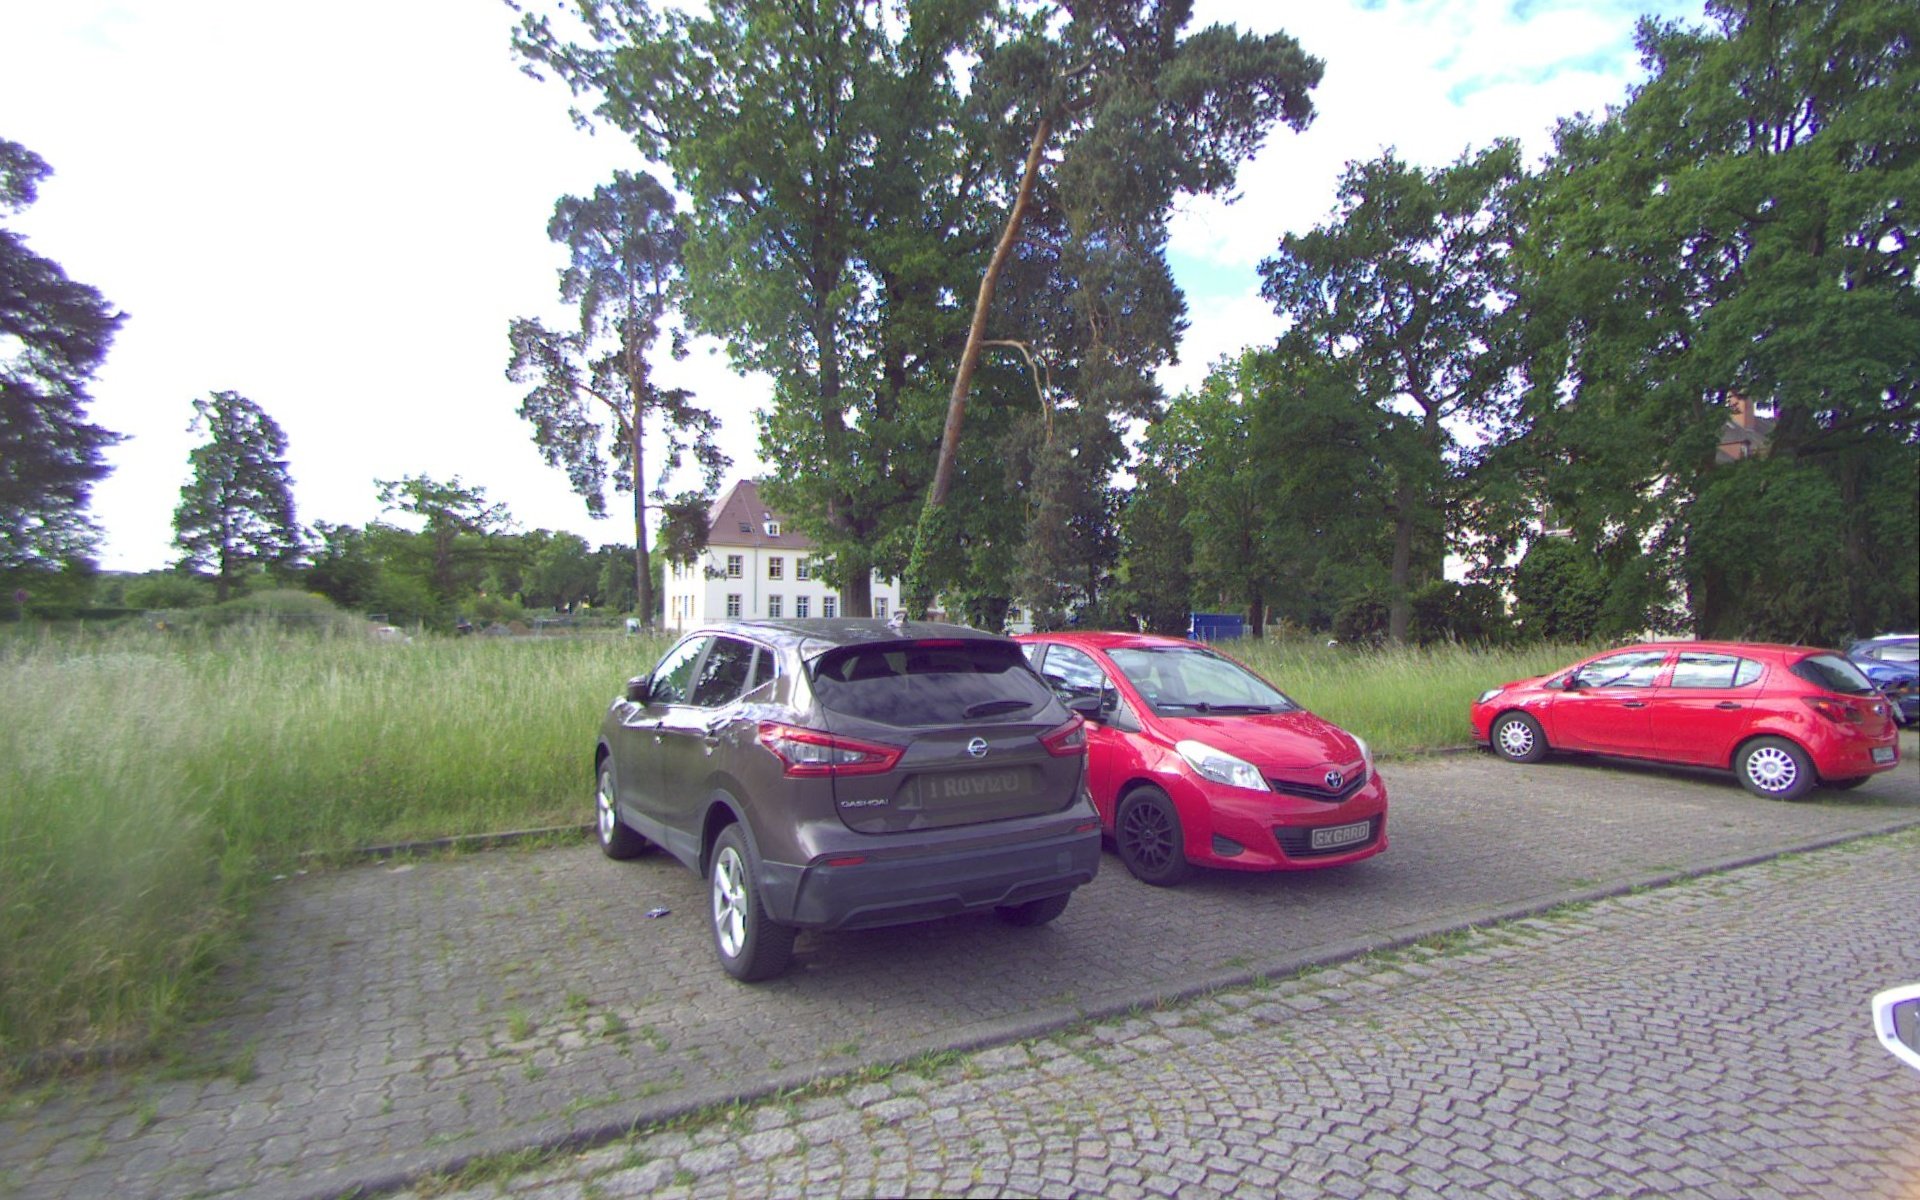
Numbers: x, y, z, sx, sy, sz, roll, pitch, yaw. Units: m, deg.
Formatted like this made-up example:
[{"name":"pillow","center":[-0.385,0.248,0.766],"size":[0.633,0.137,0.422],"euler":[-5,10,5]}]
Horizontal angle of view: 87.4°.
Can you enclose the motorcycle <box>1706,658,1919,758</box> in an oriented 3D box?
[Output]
[{"name":"motorcycle","center":[11.594,1.420,13.709],"size":[0.638,1.174,2.218],"euler":[1,-1,-26]}]

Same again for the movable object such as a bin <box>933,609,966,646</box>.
[{"name":"movable object such as a bin","center":[-1.145,2.870,103.464],"size":[2.104,3.689,6.123],"euler":[2,-2,-12]}]

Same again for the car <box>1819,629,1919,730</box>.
[{"name":"car","center":[16.676,1.303,16.130],"size":[1.767,1.625,4.051],"euler":[1,-1,-31]}]

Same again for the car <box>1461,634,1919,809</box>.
[{"name":"car","center":[7.858,1.166,11.153],"size":[1.766,1.509,3.798],"euler":[1,-1,-30]}]

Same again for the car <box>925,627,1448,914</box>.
[{"name":"car","center":[1.379,0.973,7.507],"size":[1.740,1.506,3.799],"euler":[1,-1,-29]}]

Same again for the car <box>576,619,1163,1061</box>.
[{"name":"car","center":[-0.897,0.926,5.933],"size":[1.932,1.596,4.048],"euler":[1,-1,-30]}]
